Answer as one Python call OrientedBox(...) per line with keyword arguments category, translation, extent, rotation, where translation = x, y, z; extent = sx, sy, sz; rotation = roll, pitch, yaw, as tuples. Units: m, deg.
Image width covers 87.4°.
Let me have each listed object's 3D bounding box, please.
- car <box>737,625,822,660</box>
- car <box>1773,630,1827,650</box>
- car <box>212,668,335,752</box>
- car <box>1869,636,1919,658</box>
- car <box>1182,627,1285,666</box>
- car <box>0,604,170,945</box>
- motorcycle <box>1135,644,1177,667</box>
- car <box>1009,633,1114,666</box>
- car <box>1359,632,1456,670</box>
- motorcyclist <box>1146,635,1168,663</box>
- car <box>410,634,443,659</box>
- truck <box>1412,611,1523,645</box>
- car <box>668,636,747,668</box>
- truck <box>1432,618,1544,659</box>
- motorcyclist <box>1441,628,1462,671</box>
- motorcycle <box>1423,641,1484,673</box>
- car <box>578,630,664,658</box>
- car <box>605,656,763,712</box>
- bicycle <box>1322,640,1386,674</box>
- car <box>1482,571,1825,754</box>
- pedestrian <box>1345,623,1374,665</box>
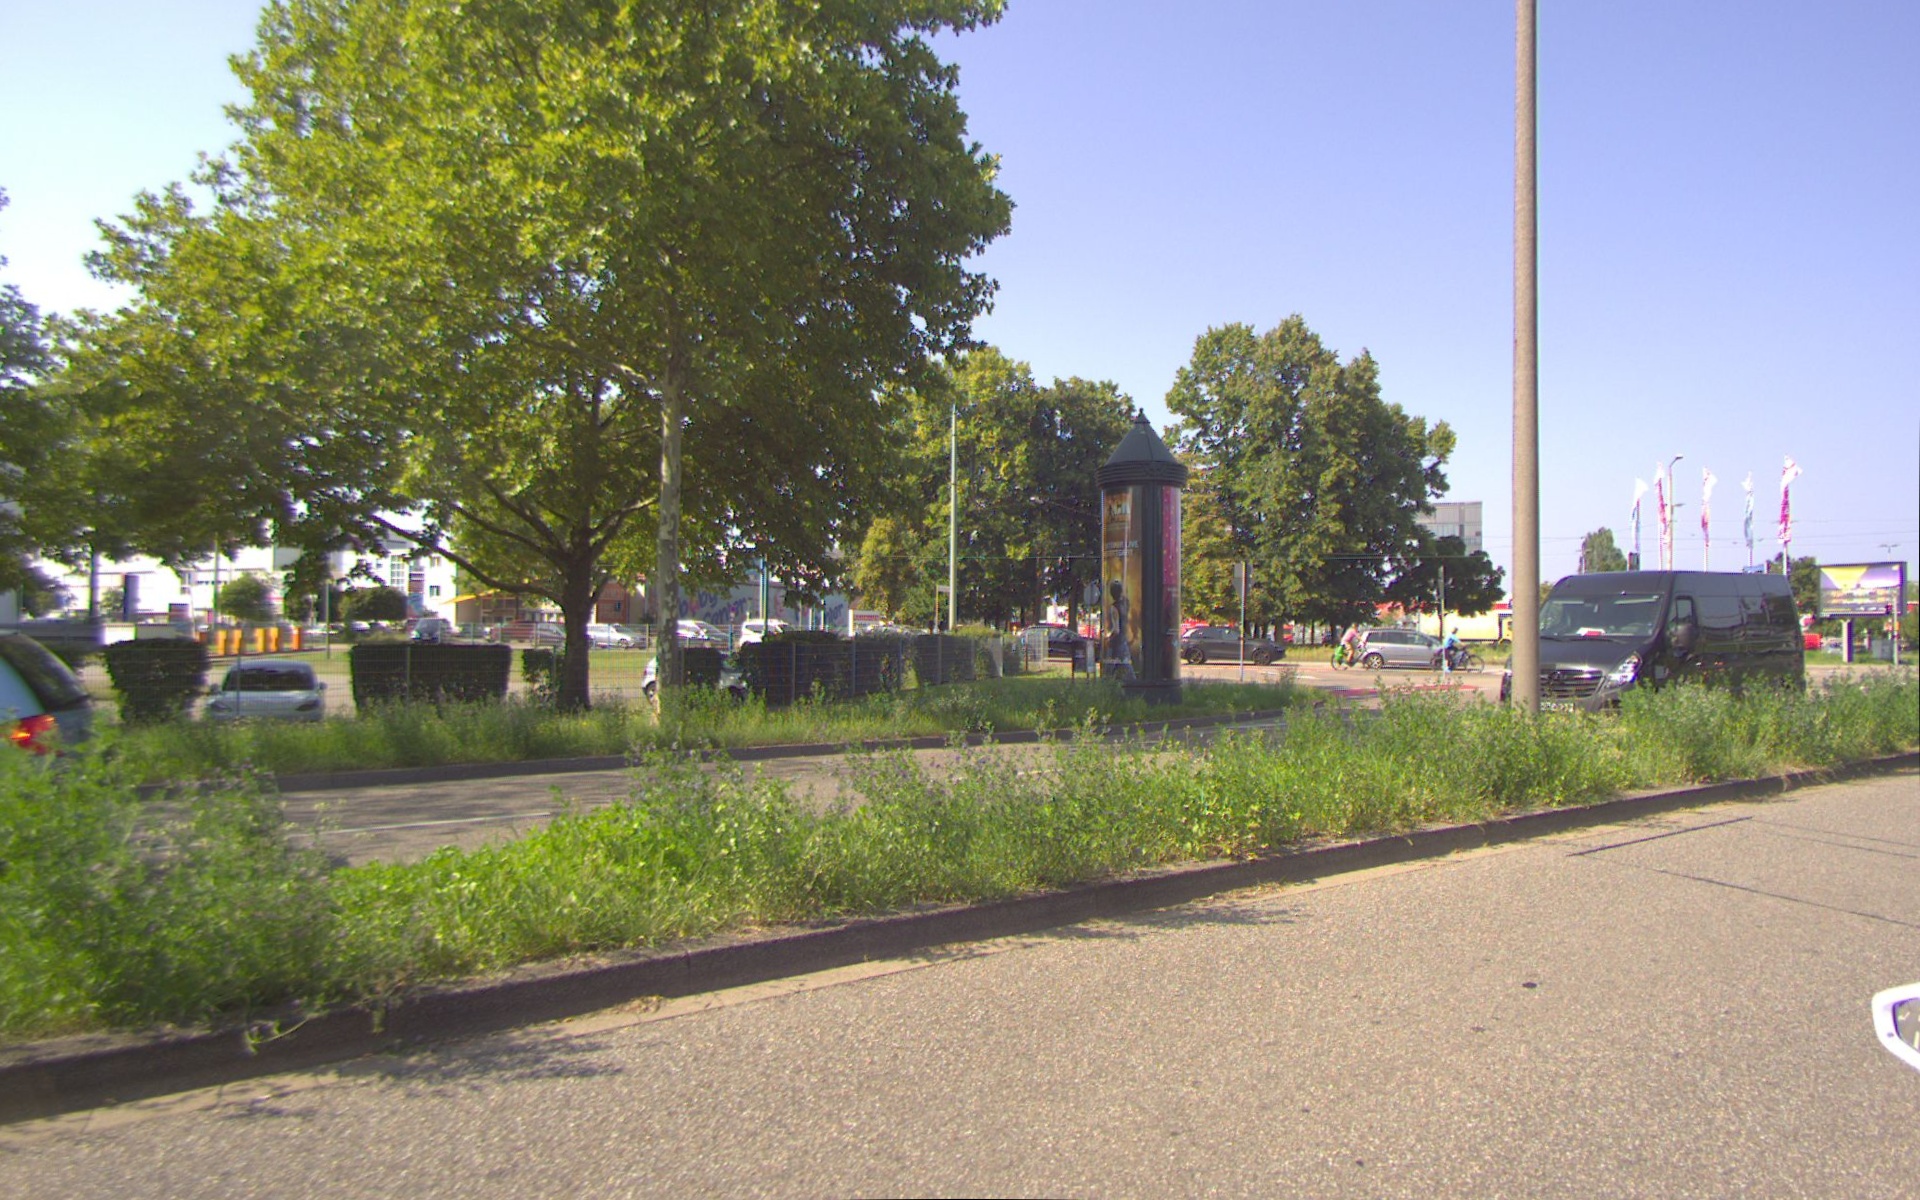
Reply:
OrientedBox(category="car", translation=(-9.385, 2.186, 52.254), extent=(3.923, 1.701, 1.870), rotation=(1, -1, 22))
OrientedBox(category="car", translation=(93.301, 4.402, 111.636), extent=(4.211, 2.040, 1.998), rotation=(1, -1, 26))
OrientedBox(category="car", translation=(-13.393, 2.067, 19.672), extent=(1.802, 1.327, 3.963), rotation=(1, -2, -34))
OrientedBox(category="car", translation=(52.137, 2.573, 54.857), extent=(1.472, 1.151, 3.369), rotation=(1, -3, -22))
OrientedBox(category="car", translation=(12.067, 2.020, 44.325), extent=(4.227, 1.600, 1.572), rotation=(1, -1, 22))
OrientedBox(category="car", translation=(-6.322, 0.783, 4.638), extent=(3.955, 1.595, 1.764), rotation=(2, -1, -31))
OrientedBox(category="motorcycle", translation=(8.576, 2.420, 44.025), extent=(1.688, 0.957, 0.711), rotation=(1, -1, 24))
OrientedBox(category="car", translation=(4.728, 2.297, 47.017), extent=(4.655, 1.462, 1.571), rotation=(-1, -2, 23))
OrientedBox(category="car", translation=(18.479, 2.080, 41.596), extent=(3.631, 1.462, 1.466), rotation=(1, -1, 23))
OrientedBox(category="motorcyclist", translation=(8.636, 2.151, 44.006), extent=(0.814, 1.194, 0.691), rotation=(1, -1, 24))
OrientedBox(category="car", translation=(-33.812, 2.914, 63.692), extent=(1.817, 1.565, 3.972), rotation=(1, -2, -28))
OrientedBox(category="truck", translation=(46.311, 2.639, 92.077), extent=(8.841, 2.996, 3.513), rotation=(-1, -2, 23))
OrientedBox(category="car", translation=(-13.939, 2.849, 55.489), extent=(3.923, 1.565, 1.839), rotation=(1, -1, 24))
OrientedBox(category="truck", translation=(32.936, 2.355, 62.881), extent=(2.084, 2.360, 5.945), rotation=(2, -1, -33))
OrientedBox(category="motorcyclist", translation=(18.715, 1.866, 38.264), extent=(0.670, 1.593, 0.683), rotation=(1, -1, 23))
OrientedBox(category="motorcycle", translation=(18.763, 2.169, 38.235), extent=(2.036, 1.151, 0.677), rotation=(0, -2, 24))
OrientedBox(category="car", translation=(-19.523, 2.492, 57.810), extent=(4.499, 1.565, 1.871), rotation=(-1, -2, 20))
OrientedBox(category="car", translation=(-7.456, 2.220, 27.130), extent=(3.922, 1.273, 1.590), rotation=(1, -1, 22))
OrientedBox(category="bicycle", translation=(15.512, 2.225, 39.523), extent=(2.315, 1.252, 0.874), rotation=(1, -1, 23))
OrientedBox(category="car", translation=(10.875, 0.906, 15.567), extent=(6.212, 2.363, 2.101), rotation=(2, -1, -32))
OrientedBox(category="pedestrian", translation=(15.697, 1.722, 39.474), extent=(1.038, 1.595, 0.868), rotation=(1, -1, 23))
